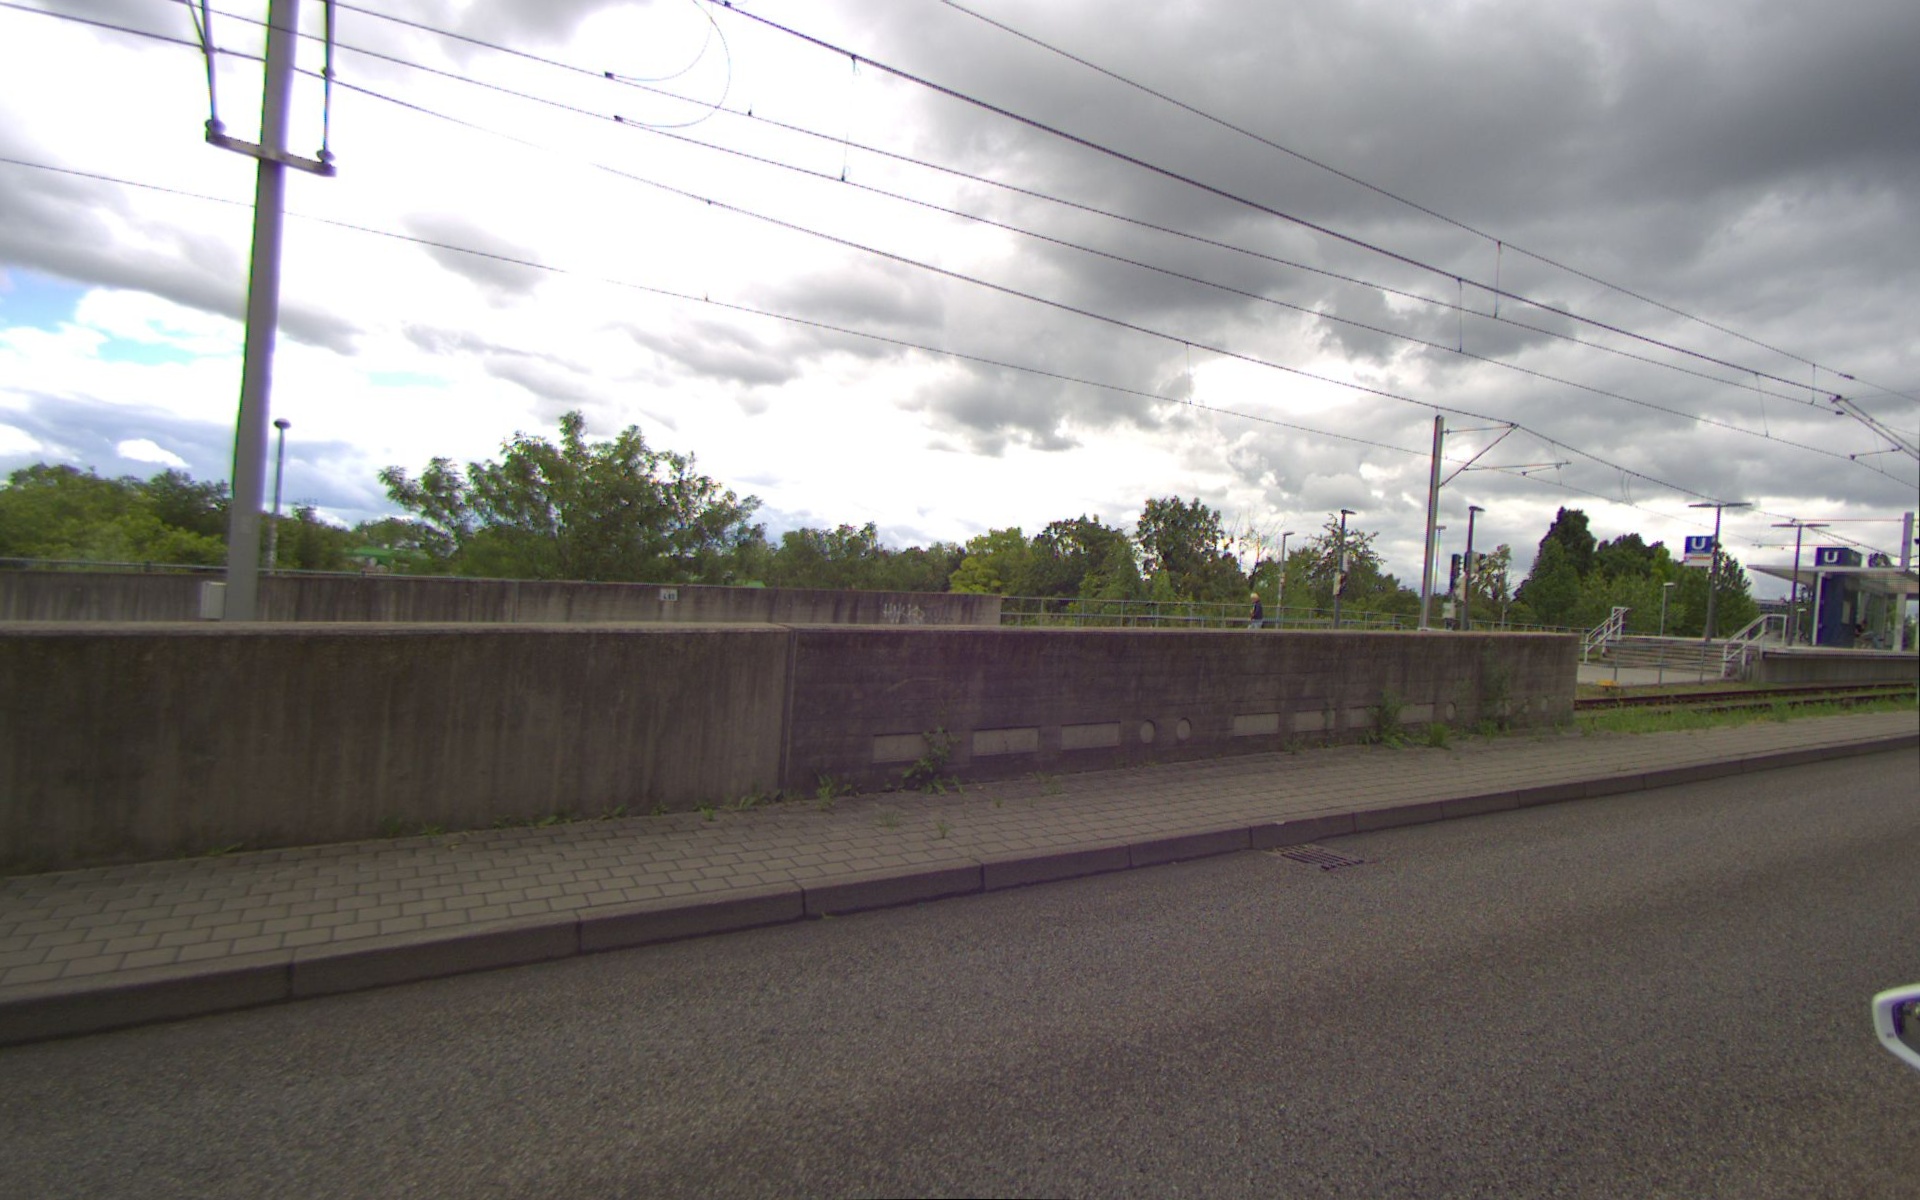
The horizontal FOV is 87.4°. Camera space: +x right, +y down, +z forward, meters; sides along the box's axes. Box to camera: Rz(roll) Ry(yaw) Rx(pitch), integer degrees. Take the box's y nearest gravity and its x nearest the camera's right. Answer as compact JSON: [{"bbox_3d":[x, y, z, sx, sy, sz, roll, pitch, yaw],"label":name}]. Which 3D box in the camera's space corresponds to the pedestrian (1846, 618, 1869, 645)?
[{"bbox_3d":[37.419,1.330,41.870,0.466,1.093,0.603,2,0,-36],"label":"pedestrian"}]

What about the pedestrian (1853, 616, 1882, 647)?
[{"bbox_3d":[36.907,1.271,40.852,0.659,1.215,0.756,3,0,-36],"label":"pedestrian"}]

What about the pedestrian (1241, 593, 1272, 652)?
[{"bbox_3d":[8.498,0.641,28.768,0.638,1.646,0.505,2,0,-31],"label":"pedestrian"}]
